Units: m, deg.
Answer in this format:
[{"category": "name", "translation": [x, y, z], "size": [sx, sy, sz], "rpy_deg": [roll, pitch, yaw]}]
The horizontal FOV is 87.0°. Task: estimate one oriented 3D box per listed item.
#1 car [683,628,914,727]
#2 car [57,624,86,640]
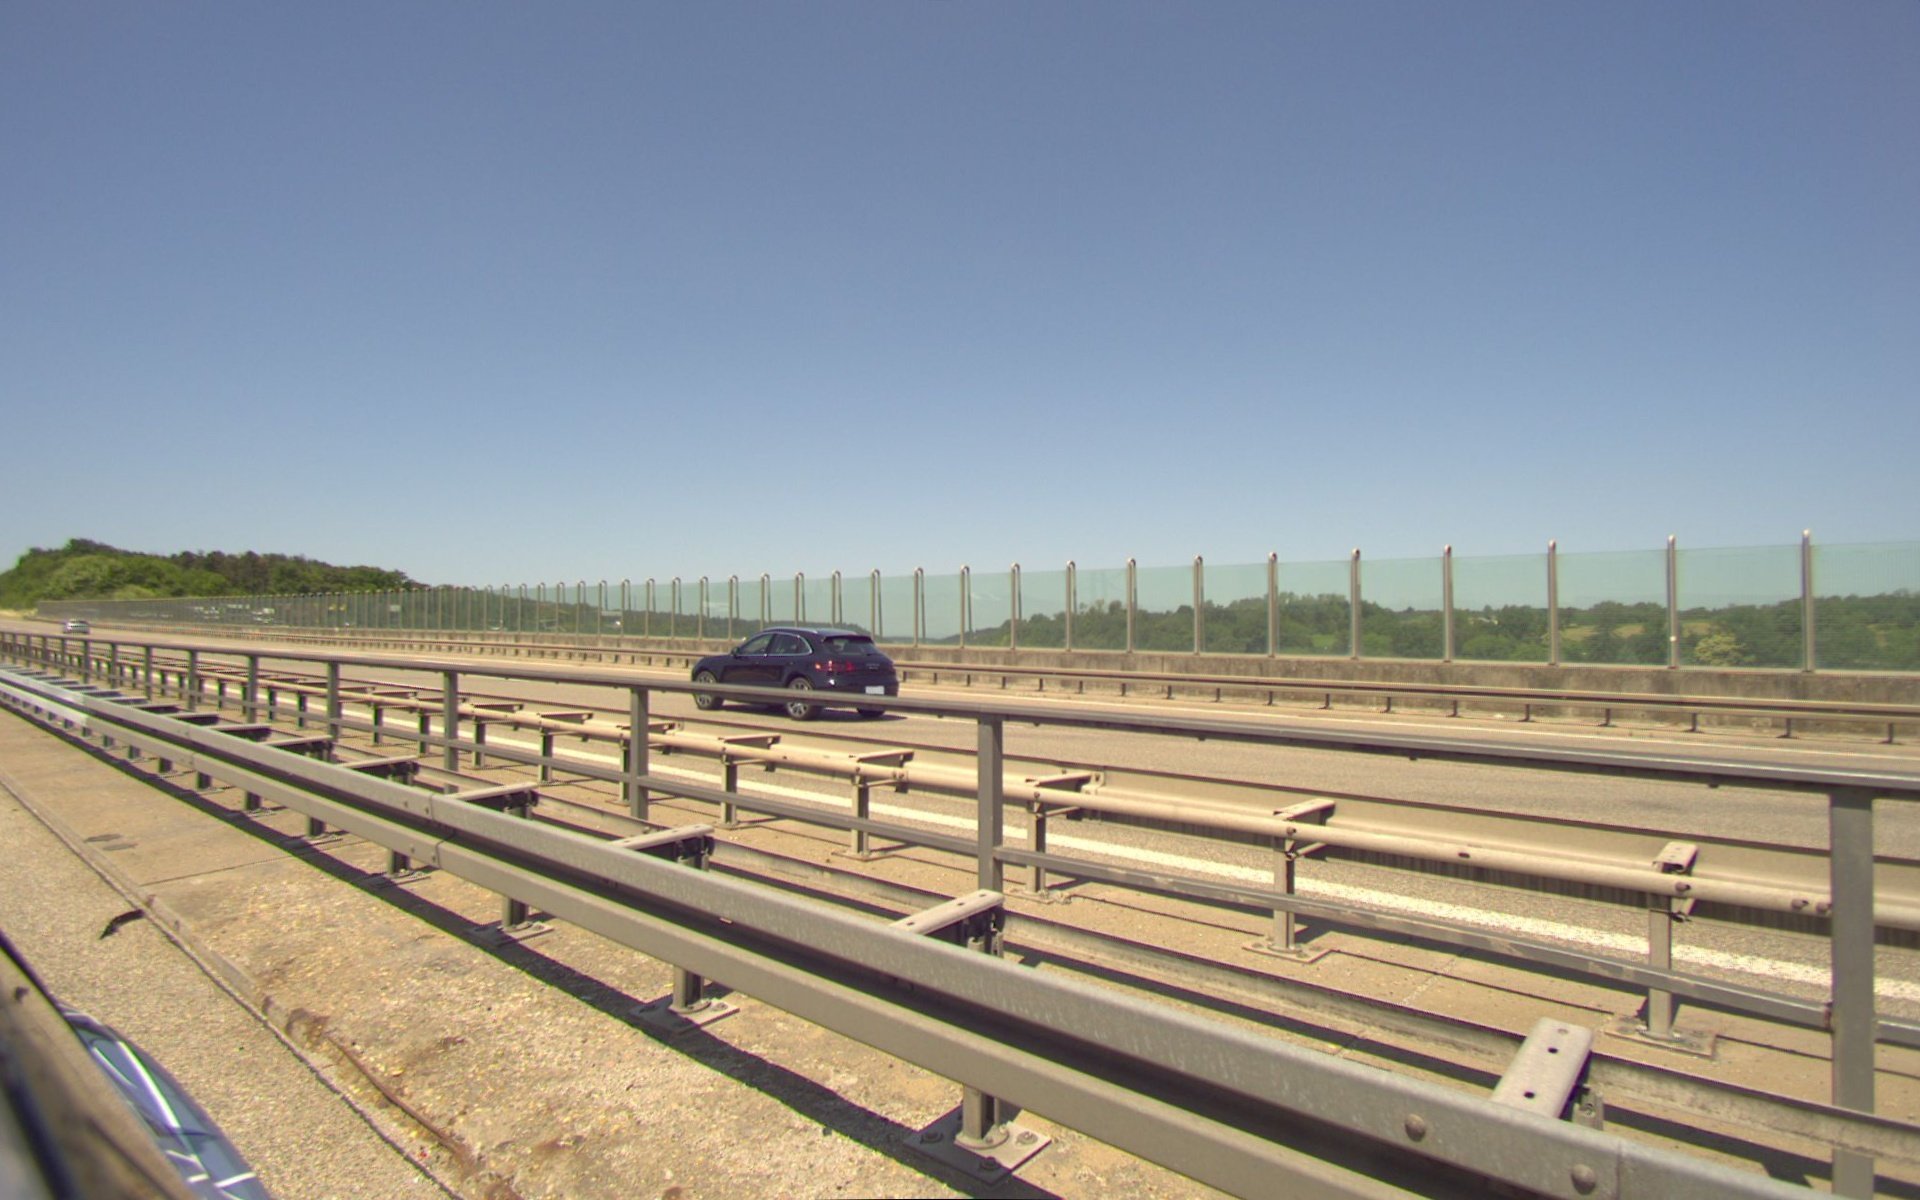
[{"category": "car", "translation": [-3.053, 1.335, 18.570], "size": [4.384, 1.581, 1.761], "rpy_deg": [-1, -3, 41]}, {"category": "car", "translation": [-83.005, 2.974, 94.528], "size": [3.675, 1.405, 1.587], "rpy_deg": [0, -3, 41]}]
